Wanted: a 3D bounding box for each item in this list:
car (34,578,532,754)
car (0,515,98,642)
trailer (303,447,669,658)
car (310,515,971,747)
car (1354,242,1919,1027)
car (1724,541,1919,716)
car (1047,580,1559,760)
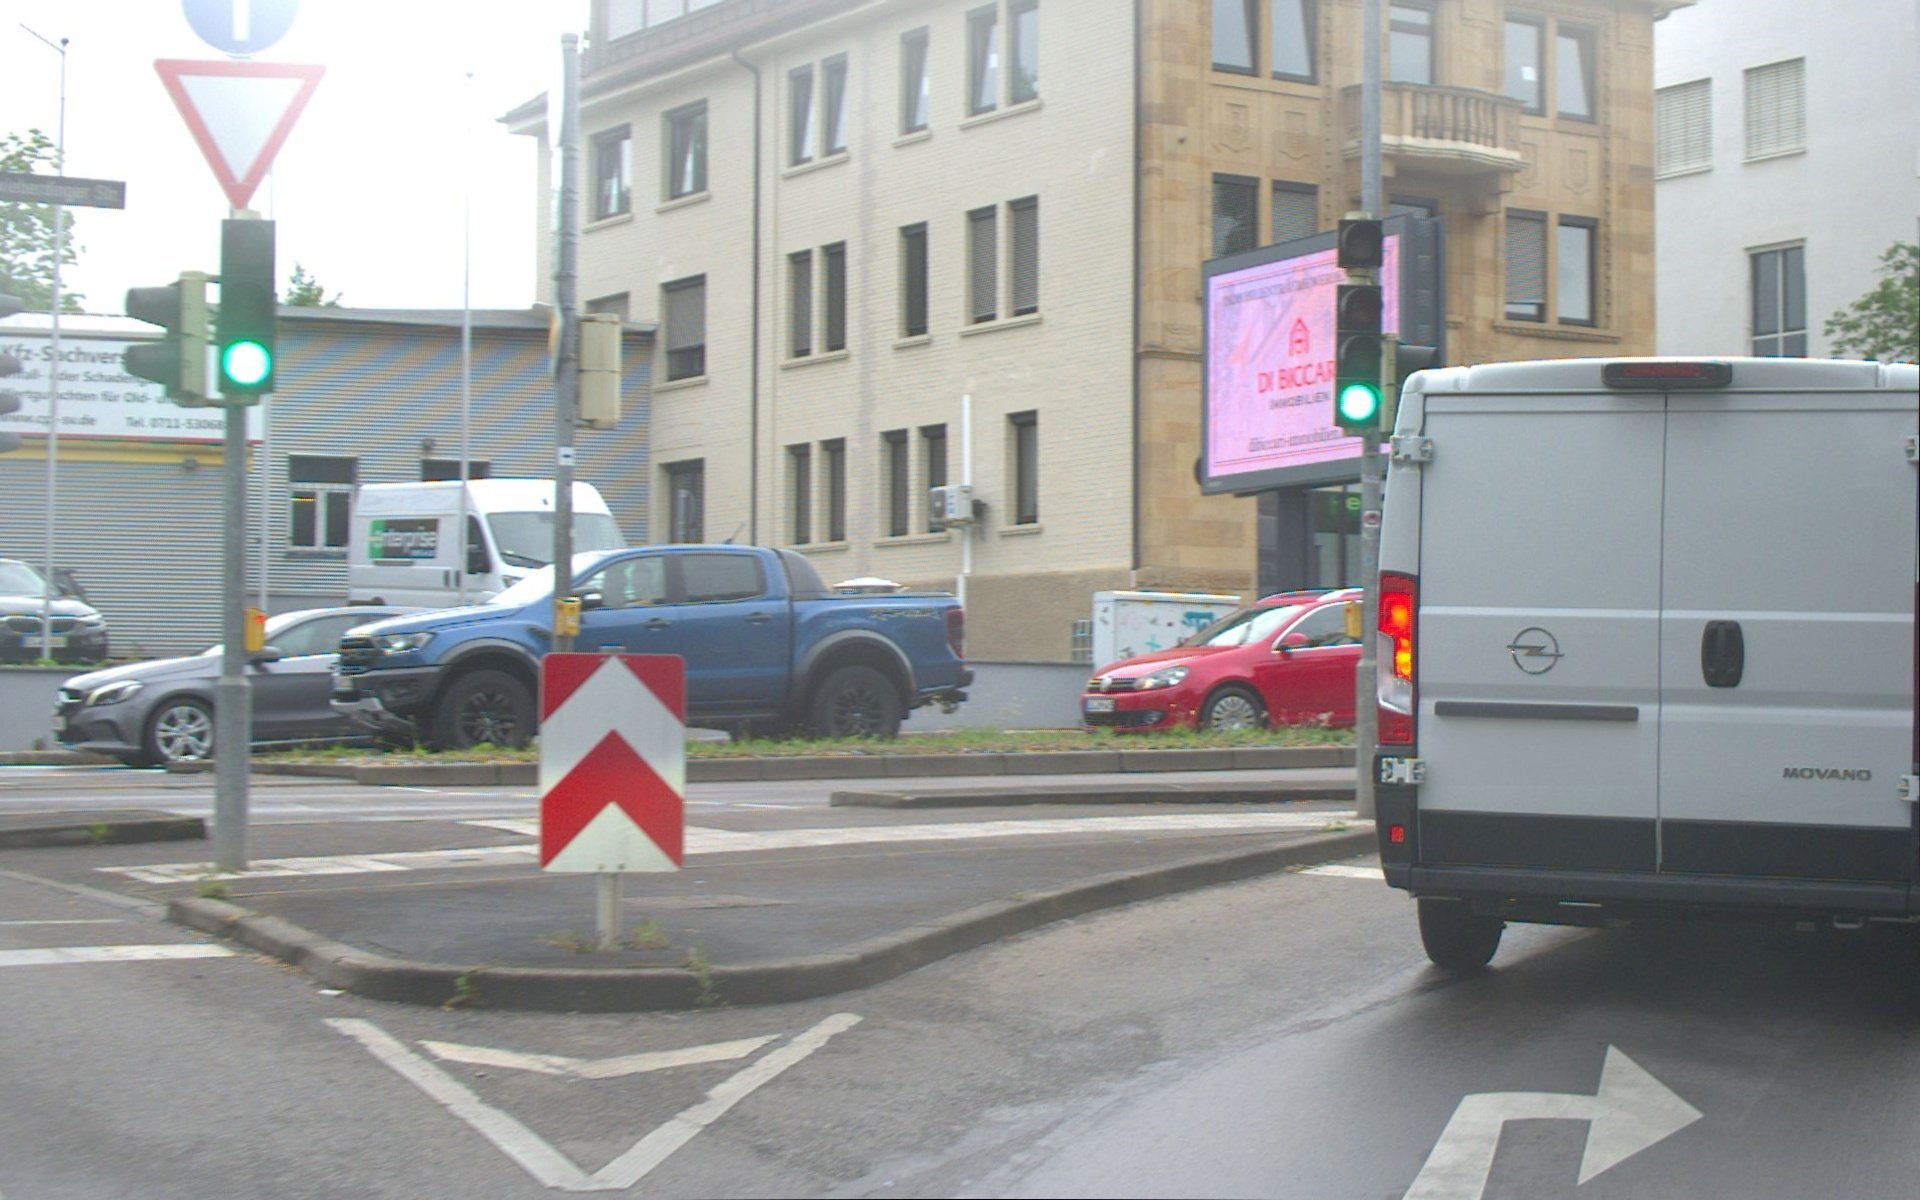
[{"bbox_3d":[-6.014,0.625,30.661,4.056,1.454,1.547,2,-3,-28],"label":"car"},{"bbox_3d":[-11.025,-0.266,40.157,1.223,1.419,2.687,1,0,-28],"label":"car"},{"bbox_3d":[-6.461,-0.522,45.902,2.387,2.420,7.120,2,-3,-29],"label":"trailer"},{"bbox_3d":[-2.654,0.275,28.843,5.152,1.812,1.940,0,-2,-27],"label":"car"},{"bbox_3d":[3.216,0.052,13.582,2.052,2.508,4.938,2,1,21],"label":"car"},{"bbox_3d":[10.285,0.294,35.107,4.609,1.692,1.961,0,-2,-27],"label":"car"},{"bbox_3d":[3.173,0.682,31.593,4.426,1.526,1.812,2,-3,-28],"label":"car"}]
